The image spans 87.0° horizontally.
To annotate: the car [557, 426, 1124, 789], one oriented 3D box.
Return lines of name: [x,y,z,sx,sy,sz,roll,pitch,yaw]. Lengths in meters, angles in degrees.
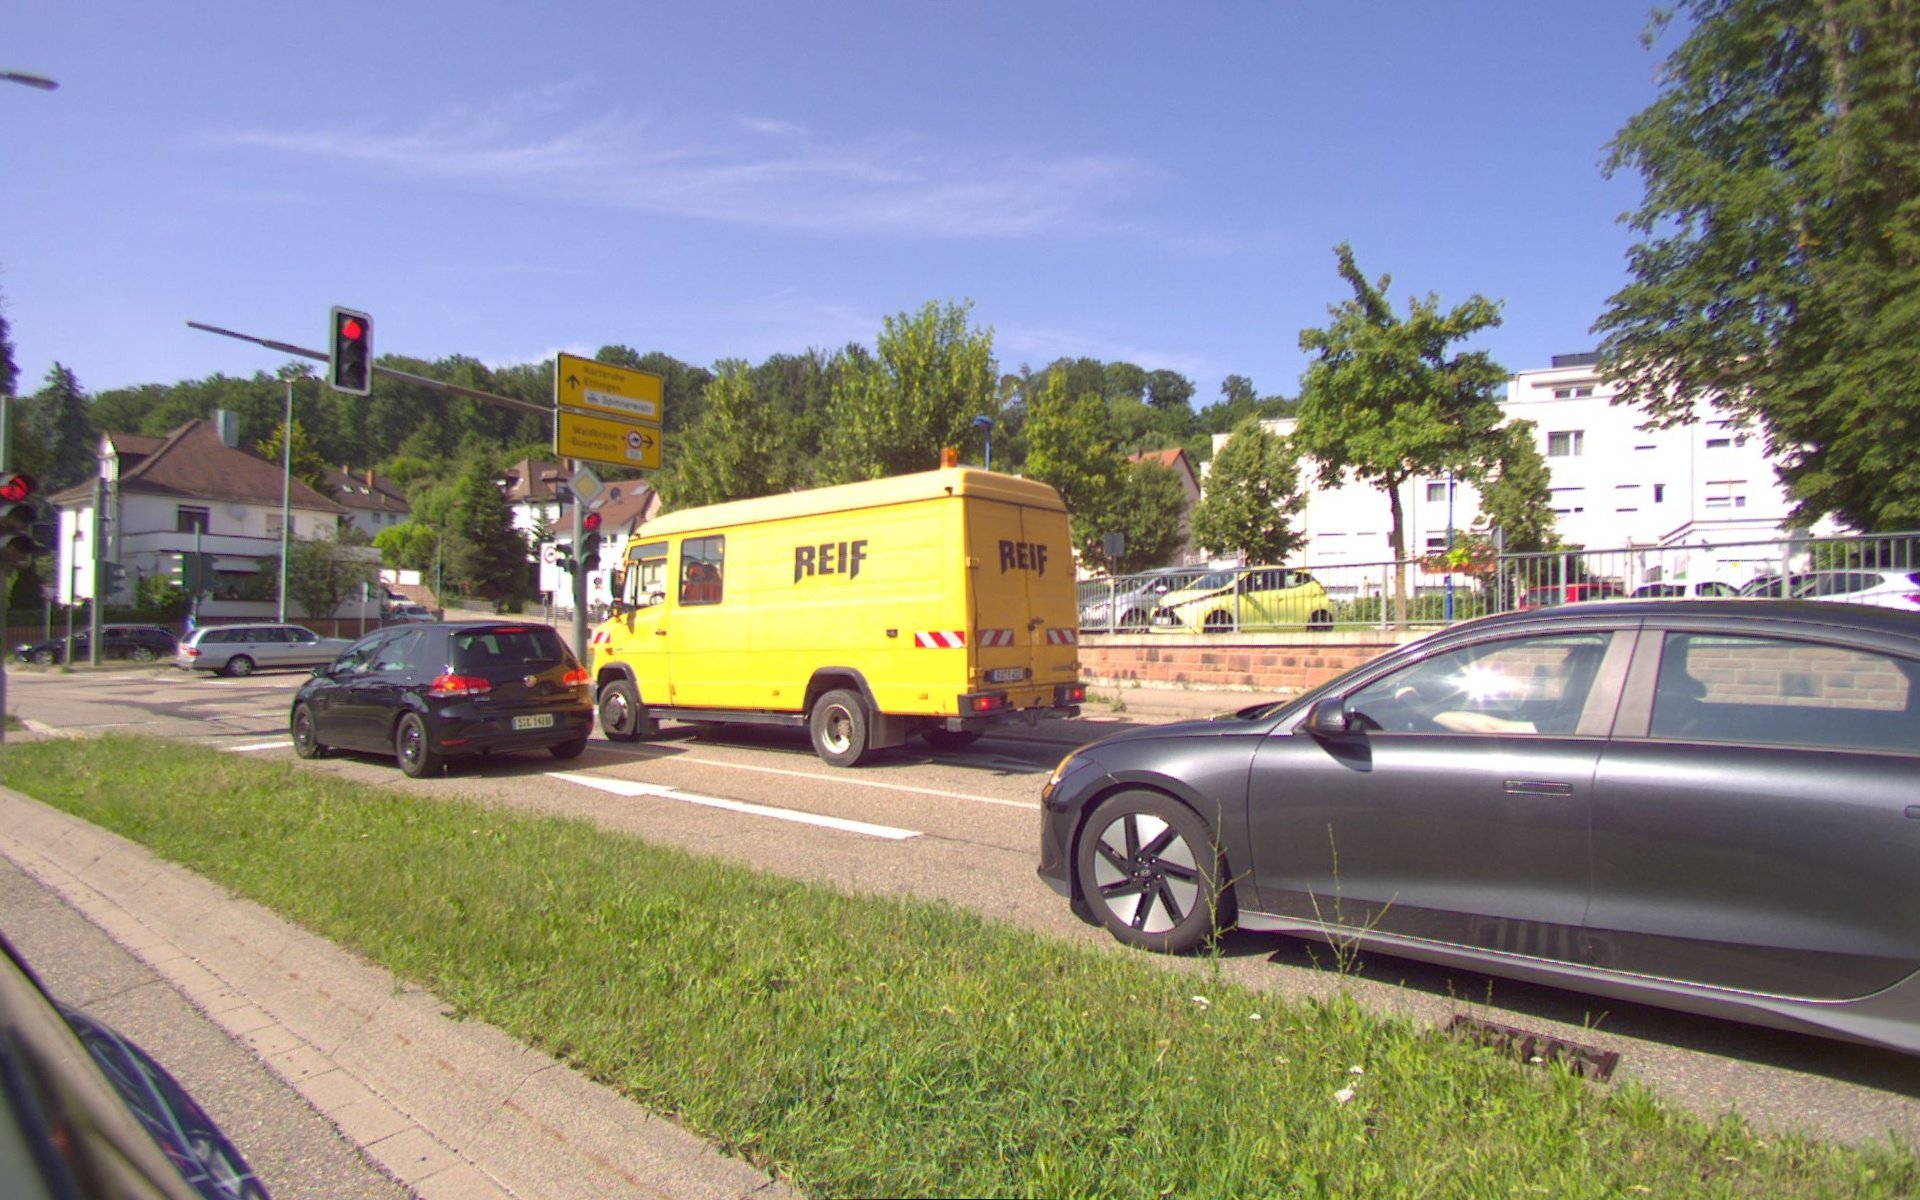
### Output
car: [-1.628,0.103,11.404,6.456,3.033,2.444,-1,0,38]

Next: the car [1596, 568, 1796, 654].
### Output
car: [16.788,0.241,23.097,3.931,1.714,1.920,-3,-1,-24]

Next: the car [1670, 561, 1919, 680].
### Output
car: [14.879,0.348,17.347,1.888,1.803,4.013,0,-1,-21]

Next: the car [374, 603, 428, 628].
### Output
car: [-39.912,1.115,72.196,3.995,1.619,1.974,-3,-1,39]

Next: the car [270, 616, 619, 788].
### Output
car: [-5.507,0.934,10.634,4.037,1.474,1.729,-2,-2,38]

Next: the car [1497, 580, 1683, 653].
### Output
car: [15.756,0.398,25.329,3.931,1.571,1.920,-2,-1,-21]

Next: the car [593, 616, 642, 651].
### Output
car: [-16.169,1.572,47.944,1.635,1.545,3.963,-1,-1,-11]

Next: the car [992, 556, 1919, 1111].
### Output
car: [2.539,0.641,3.859,4.710,1.482,1.774,-2,-1,38]

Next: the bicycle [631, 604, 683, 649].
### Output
bicycle: [-9.312,0.820,31.079,1.756,1.265,0.612,-5,1,42]

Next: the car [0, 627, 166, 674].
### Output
car: [-32.467,1.841,37.383,4.669,1.495,1.987,-2,-1,-29]

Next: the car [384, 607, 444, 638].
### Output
car: [-33.080,1.372,61.259,3.999,1.649,1.914,-3,-1,42]

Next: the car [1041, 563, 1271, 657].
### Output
car: [4.169,0.169,21.665,4.339,1.709,2.064,-3,1,-21]

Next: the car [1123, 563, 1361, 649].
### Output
car: [5.327,0.109,19.218,3.931,1.392,1.920,-2,-1,-21]

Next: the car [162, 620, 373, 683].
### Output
car: [-19.849,1.434,29.151,1.981,1.515,4.684,-3,-1,43]

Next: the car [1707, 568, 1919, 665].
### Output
car: [17.349,0.290,20.192,3.931,1.684,2.006,-2,-1,-19]
